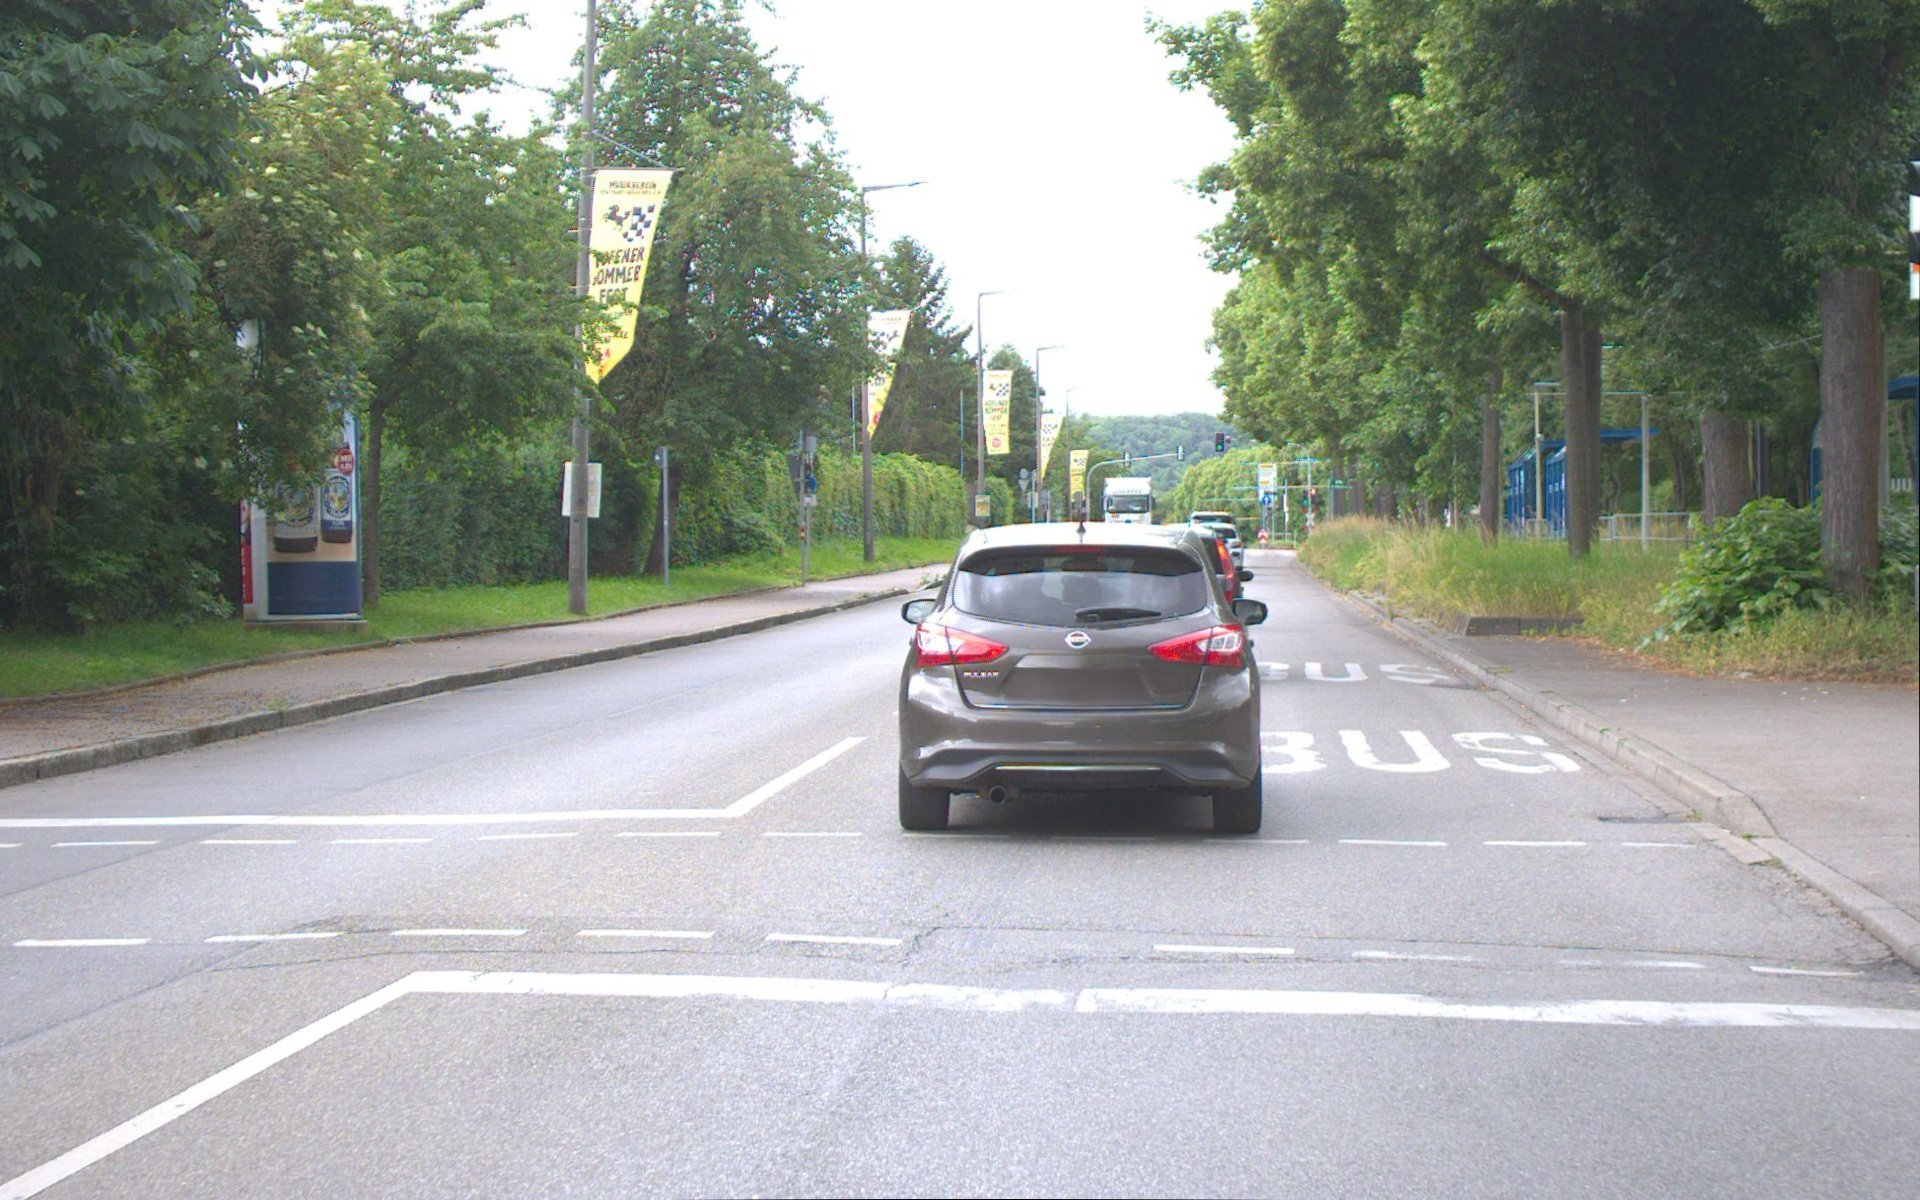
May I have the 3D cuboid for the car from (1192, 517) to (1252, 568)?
[{"bbox_3d":[7.594,-1.671,99.612,1.692,1.436,3.541,0,1,4],"label":"car"}]

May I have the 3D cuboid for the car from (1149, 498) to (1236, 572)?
[{"bbox_3d":[4.665,-1.295,68.865,1.692,1.436,3.541,0,1,4],"label":"car"}]

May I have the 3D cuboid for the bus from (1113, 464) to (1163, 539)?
[{"bbox_3d":[9.862,-5.401,189.758,2.488,4.012,10.216,0,1,4],"label":"bus"}]

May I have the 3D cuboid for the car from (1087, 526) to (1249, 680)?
[{"bbox_3d":[2.073,-0.002,33.880,1.502,1.436,3.541,0,1,4],"label":"car"}]

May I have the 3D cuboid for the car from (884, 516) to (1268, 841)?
[{"bbox_3d":[0.689,0.342,17.826,1.784,1.501,3.695,0,1,5],"label":"car"}]
